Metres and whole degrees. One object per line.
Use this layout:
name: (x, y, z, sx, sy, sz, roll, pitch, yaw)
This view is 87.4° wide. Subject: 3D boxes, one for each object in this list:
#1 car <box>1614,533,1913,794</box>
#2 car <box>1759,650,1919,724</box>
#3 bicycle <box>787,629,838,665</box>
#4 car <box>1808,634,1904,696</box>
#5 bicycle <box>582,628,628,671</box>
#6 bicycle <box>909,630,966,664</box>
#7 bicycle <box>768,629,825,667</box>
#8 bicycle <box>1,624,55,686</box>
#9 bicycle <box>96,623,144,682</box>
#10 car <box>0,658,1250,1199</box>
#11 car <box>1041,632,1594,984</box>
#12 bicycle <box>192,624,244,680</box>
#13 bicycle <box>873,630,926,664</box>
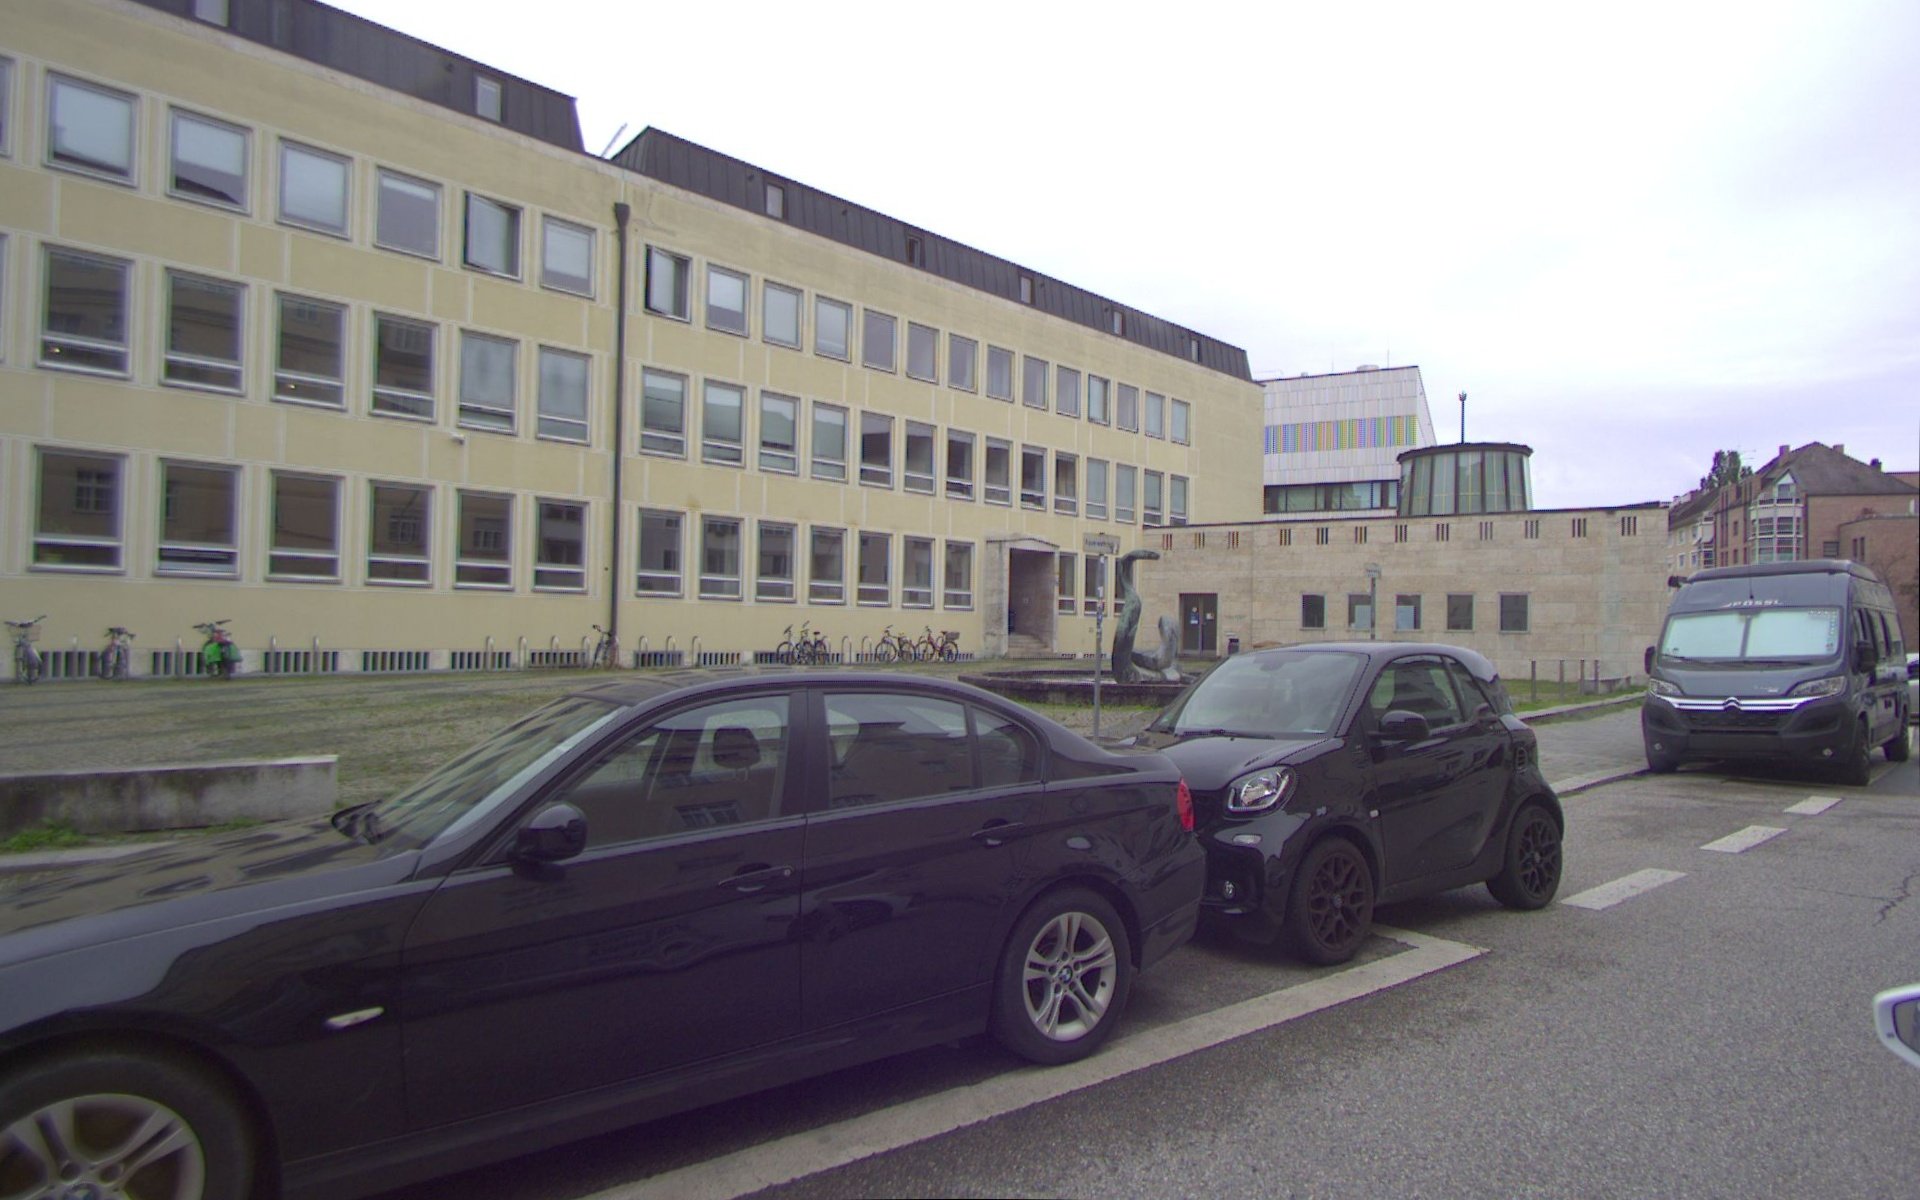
car: (10.667, 0.765, 13.114, 5.974, 2.676, 2.144, 2, -3, -43)
car: (19.918, 1.863, 21.491, 4.003, 1.500, 1.687, -2, -5, 11)
bicycle: (-4.390, 1.382, 29.853, 0.620, 1.028, 1.932, 2, -2, -38)
car: (27.631, 1.965, 31.097, 1.656, 1.729, 4.499, 0, -2, 35)
bicycle: (-9.008, 1.235, 25.426, 0.619, 1.028, 1.934, 2, -1, -34)
bicycle: (-0.746, 1.510, 32.475, 1.924, 1.028, 0.622, 0, -2, 41)
bicycle: (-4.741, 1.381, 28.996, 0.621, 1.028, 1.927, 2, -2, -44)
bicycle: (-16.419, 0.947, 17.730, 0.621, 1.028, 1.929, 2, -2, -41)
bicycle: (-15.731, 0.967, 18.804, 0.621, 1.028, 1.929, 2, -2, -41)
car: (-1.134, 0.924, 3.579, 4.410, 1.424, 1.788, 2, -4, -35)
car: (2.139, 0.986, 5.916, 2.947, 1.521, 1.660, 2, -4, -34)
bicycle: (-14.512, 0.998, 19.627, 0.621, 1.028, 1.929, 2, -2, -41)
bicycle: (-1.922, 1.473, 31.695, 0.621, 1.028, 1.929, 2, -2, -42)
